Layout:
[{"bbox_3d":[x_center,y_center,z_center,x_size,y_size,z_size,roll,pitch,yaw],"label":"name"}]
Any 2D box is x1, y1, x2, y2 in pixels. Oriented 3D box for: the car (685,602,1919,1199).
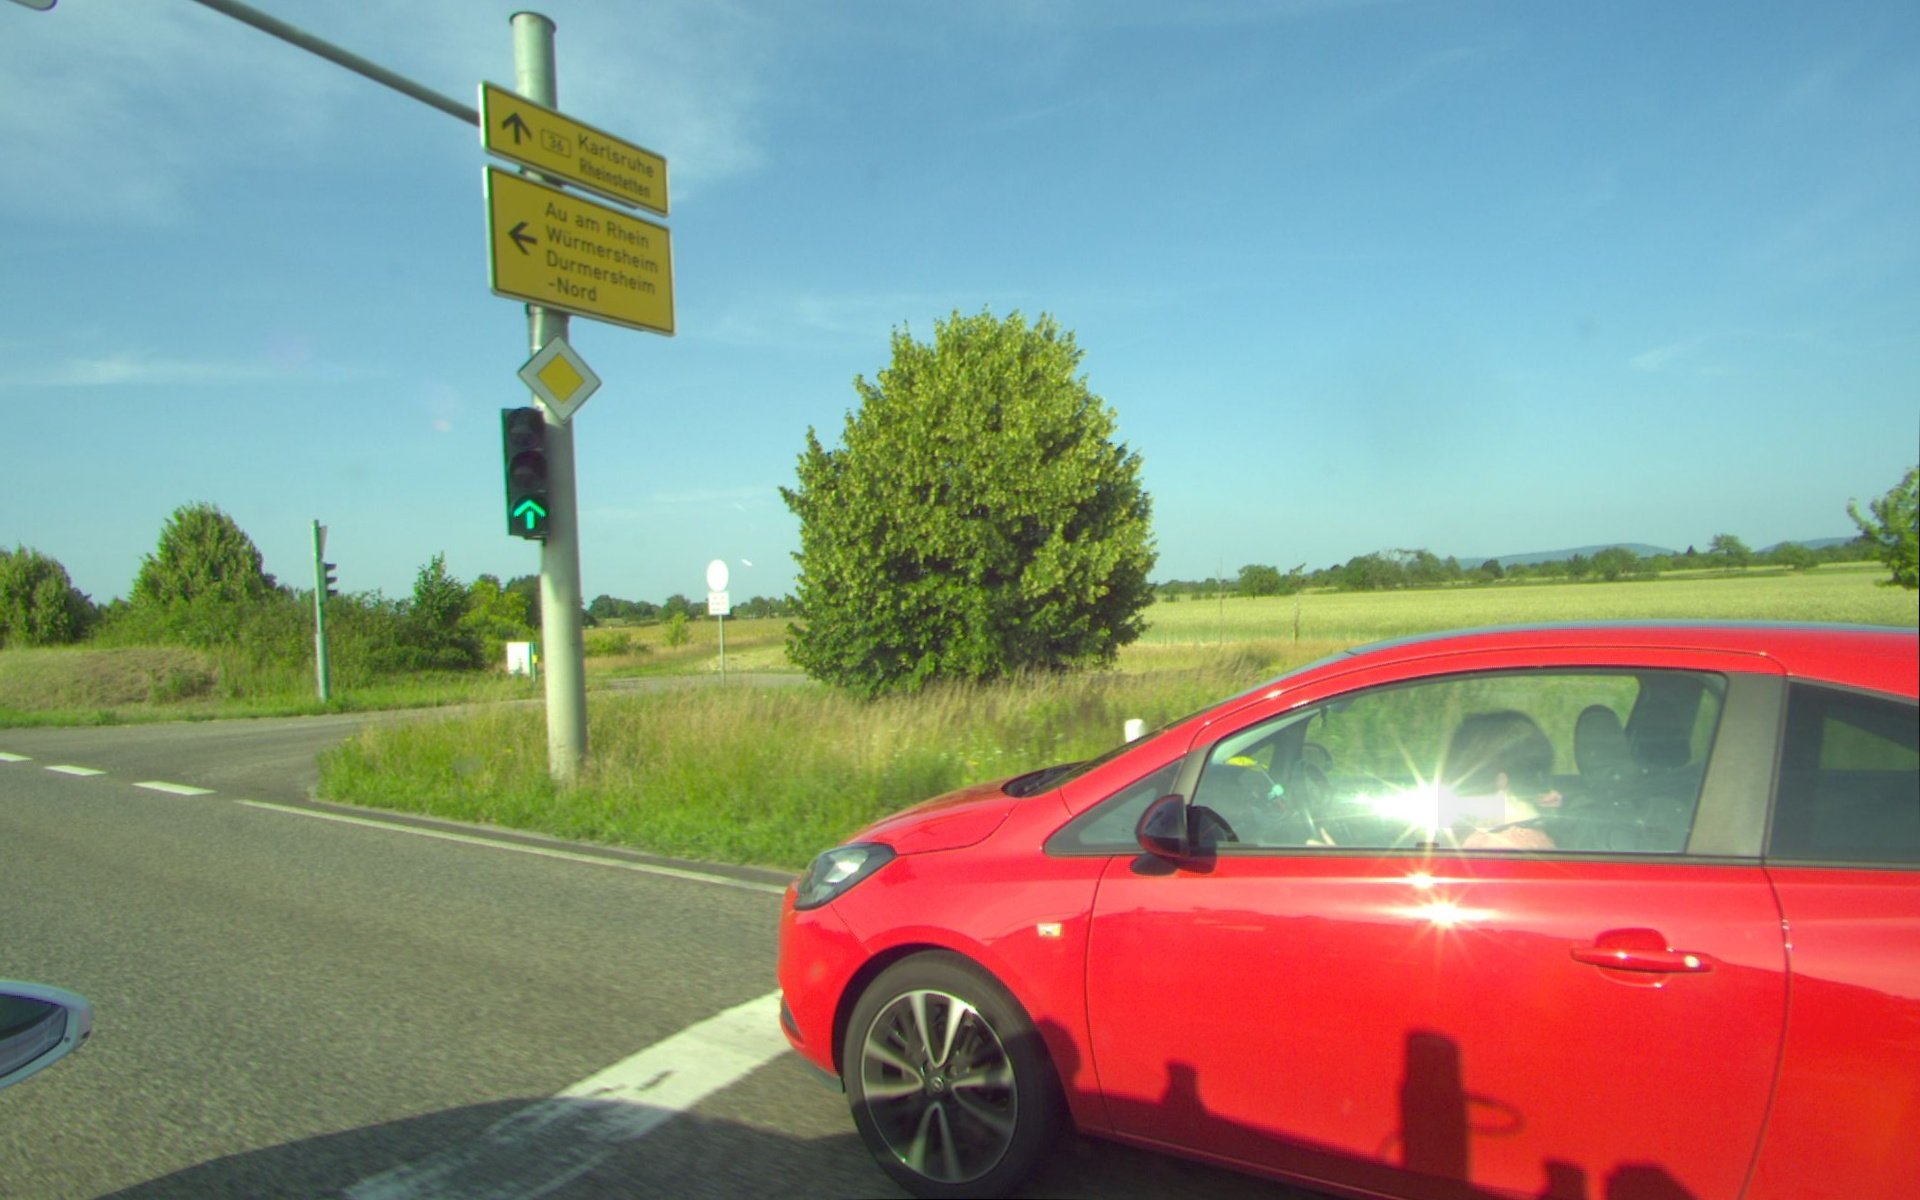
[{"bbox_3d":[1.298,0.782,2.736,3.895,1.483,1.660,-2,-1,29],"label":"car"}]
